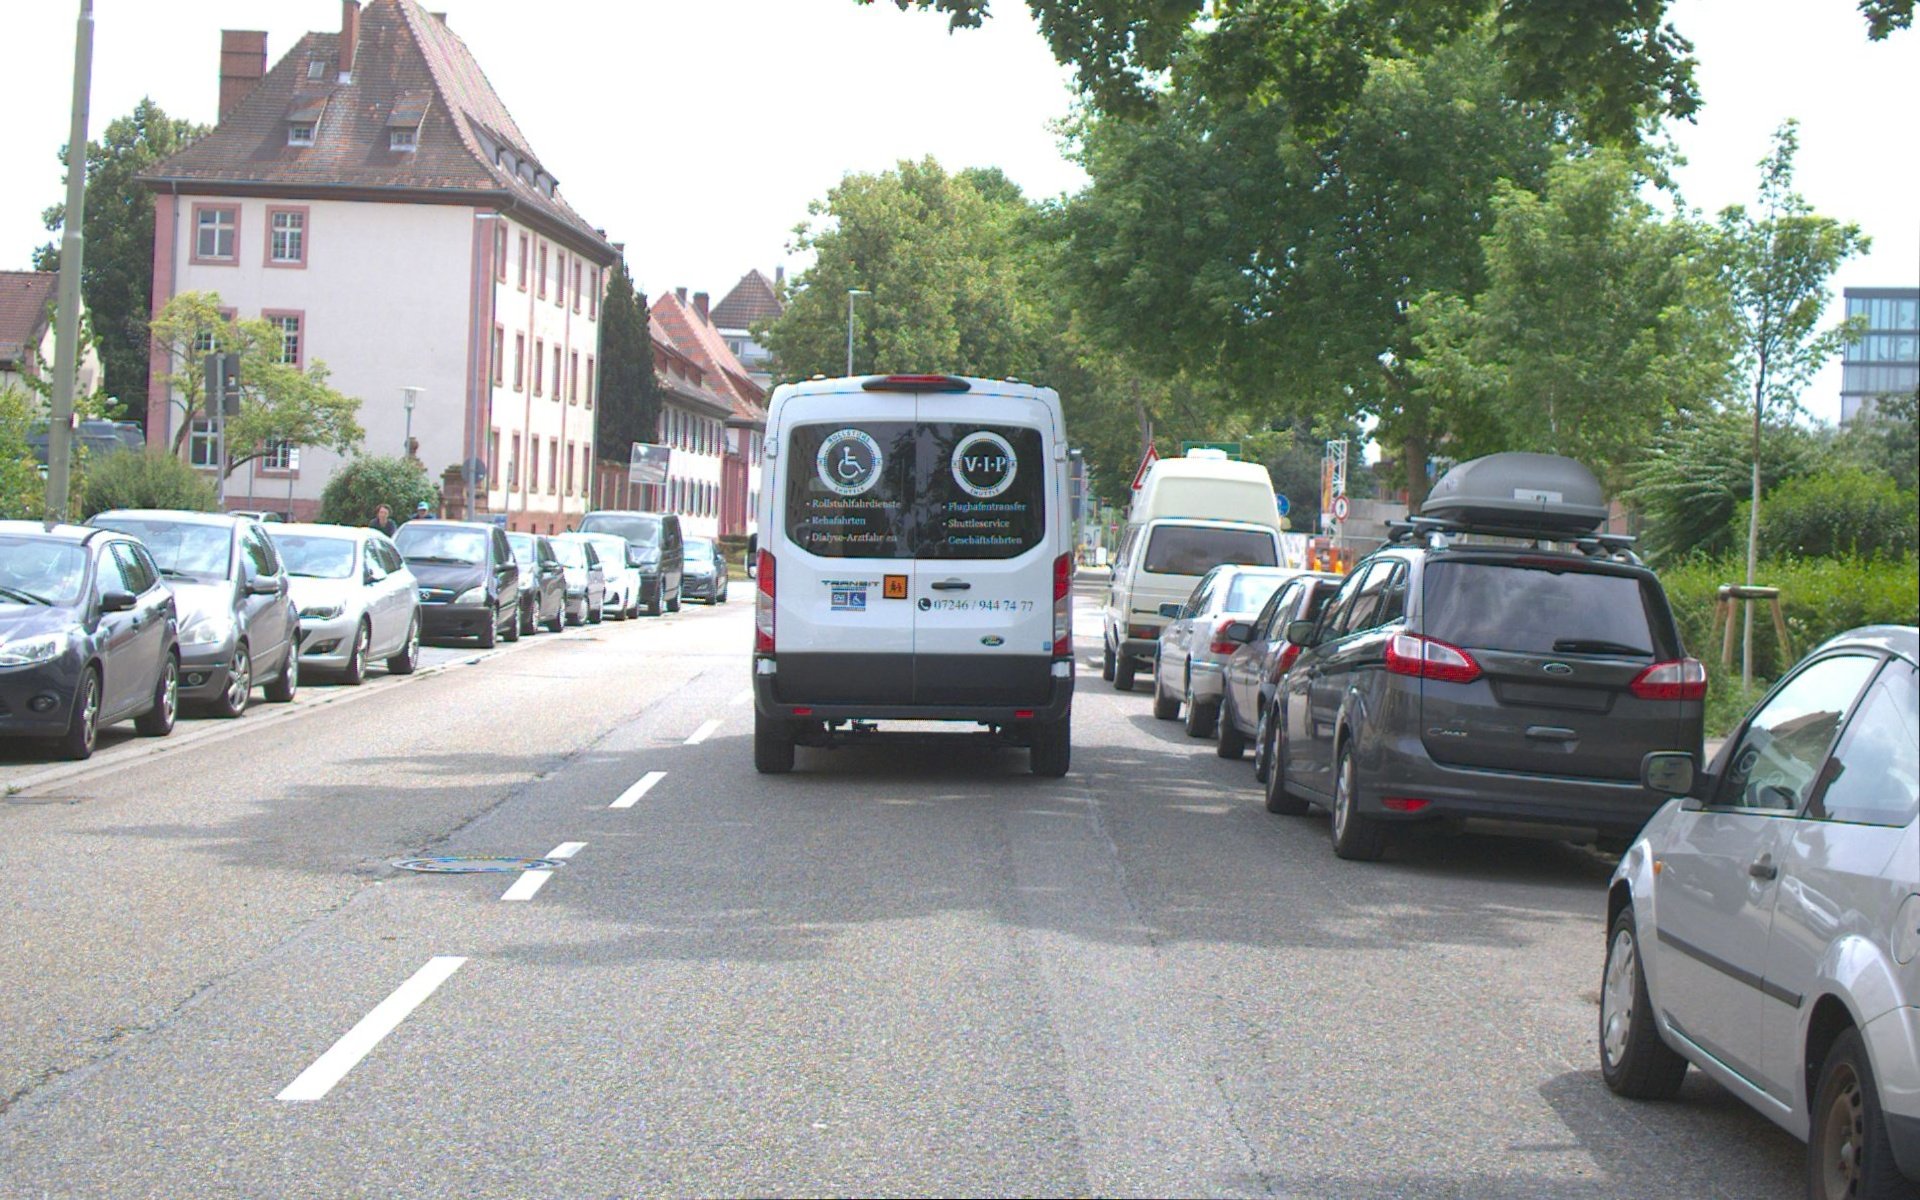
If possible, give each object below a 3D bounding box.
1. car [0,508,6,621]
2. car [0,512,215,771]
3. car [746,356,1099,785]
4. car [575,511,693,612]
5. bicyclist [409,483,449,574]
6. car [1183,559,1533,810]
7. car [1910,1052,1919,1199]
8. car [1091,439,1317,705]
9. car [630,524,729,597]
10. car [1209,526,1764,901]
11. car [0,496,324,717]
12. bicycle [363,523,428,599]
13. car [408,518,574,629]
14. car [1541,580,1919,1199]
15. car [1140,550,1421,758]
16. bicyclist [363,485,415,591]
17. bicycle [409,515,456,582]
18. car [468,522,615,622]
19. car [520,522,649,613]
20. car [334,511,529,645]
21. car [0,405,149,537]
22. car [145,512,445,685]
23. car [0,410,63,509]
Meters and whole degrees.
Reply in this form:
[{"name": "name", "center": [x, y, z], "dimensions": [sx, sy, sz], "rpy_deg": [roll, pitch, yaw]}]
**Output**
[{"name": "car", "center": [-6.226, 0.273, 16.557], "dimensions": [1.885, 1.574, 5.220], "rpy_deg": [3, 1, -2]}, {"name": "car", "center": [-6.367, 0.182, 23.001], "dimensions": [1.741, 1.491, 4.786], "rpy_deg": [3, 1, -1]}, {"name": "car", "center": [-0.318, -0.203, 22.922], "dimensions": [2.070, 2.531, 4.635], "rpy_deg": [1, 1, -2]}, {"name": "car", "center": [-6.319, -0.766, 66.947], "dimensions": [1.786, 1.820, 3.974], "rpy_deg": [3, 1, 0]}, {"name": "bicyclist", "center": [-9.423, -1.268, 61.042], "dimensions": [0.536, 1.580, 0.691], "rpy_deg": [1, 1, 3]}, {"name": "car", "center": [2.693, 0.522, 24.121], "dimensions": [1.712, 1.459, 4.001], "rpy_deg": [5, 1, -3]}, {"name": "car", "center": [2.562, 0.859, 3.733], "dimensions": [1.617, 1.464, 4.392], "rpy_deg": [3, 1, -3]}, {"name": "car", "center": [2.591, -0.323, 37.632], "dimensions": [1.897, 2.578, 4.829], "rpy_deg": [5, 1, 0]}, {"name": "car", "center": [-6.270, -0.899, 77.138], "dimensions": [1.786, 1.477, 3.861], "rpy_deg": [3, 1, 0]}, {"name": "car", "center": [2.722, 0.496, 19.168], "dimensions": [1.927, 1.655, 5.326], "rpy_deg": [5, 1, -3]}, {"name": "car", "center": [-6.506, 0.006, 28.112], "dimensions": [1.885, 1.574, 4.154], "rpy_deg": [3, 1, -2]}, {"name": "bicycle", "center": [-8.964, -0.620, 54.657], "dimensions": [0.541, 1.171, 2.091], "rpy_deg": [2, 1, 4]}, {"name": "car", "center": [-6.803, -0.401, 50.178], "dimensions": [1.786, 1.457, 3.861], "rpy_deg": [3, 1, 0]}, {"name": "car", "center": [2.708, 0.750, 8.815], "dimensions": [1.659, 1.451, 4.036], "rpy_deg": [3, 1, 0]}, {"name": "car", "center": [2.624, 0.388, 29.153], "dimensions": [1.680, 1.464, 4.556], "rpy_deg": [5, 1, -2]}, {"name": "bicyclist", "center": [-8.992, -0.976, 54.133], "dimensions": [0.537, 1.647, 1.047], "rpy_deg": [2, 1, 4]}, {"name": "bicycle", "center": [-9.411, -0.920, 61.374], "dimensions": [0.541, 1.171, 1.349], "rpy_deg": [1, 1, 3]}, {"name": "car", "center": [-6.697, -0.472, 55.368], "dimensions": [1.786, 1.457, 3.861], "rpy_deg": [3, 1, 0]}, {"name": "car", "center": [-6.733, -0.599, 61.936], "dimensions": [1.786, 1.477, 3.861], "rpy_deg": [3, 1, 0]}, {"name": "car", "center": [-6.721, -0.305, 44.077], "dimensions": [1.786, 1.538, 3.861], "rpy_deg": [3, 1, 0]}, {"name": "car", "center": [-17.563, -2.440, 63.927], "dimensions": [4.409, 2.340, 2.000], "rpy_deg": [2, 2, 1]}, {"name": "car", "center": [-6.467, -0.051, 33.958], "dimensions": [1.886, 1.483, 4.633], "rpy_deg": [3, 1, 1]}, {"name": "car", "center": [-17.990, -2.504, 59.860], "dimensions": [4.172, 1.678, 2.000], "rpy_deg": [2, 2, 1]}]
